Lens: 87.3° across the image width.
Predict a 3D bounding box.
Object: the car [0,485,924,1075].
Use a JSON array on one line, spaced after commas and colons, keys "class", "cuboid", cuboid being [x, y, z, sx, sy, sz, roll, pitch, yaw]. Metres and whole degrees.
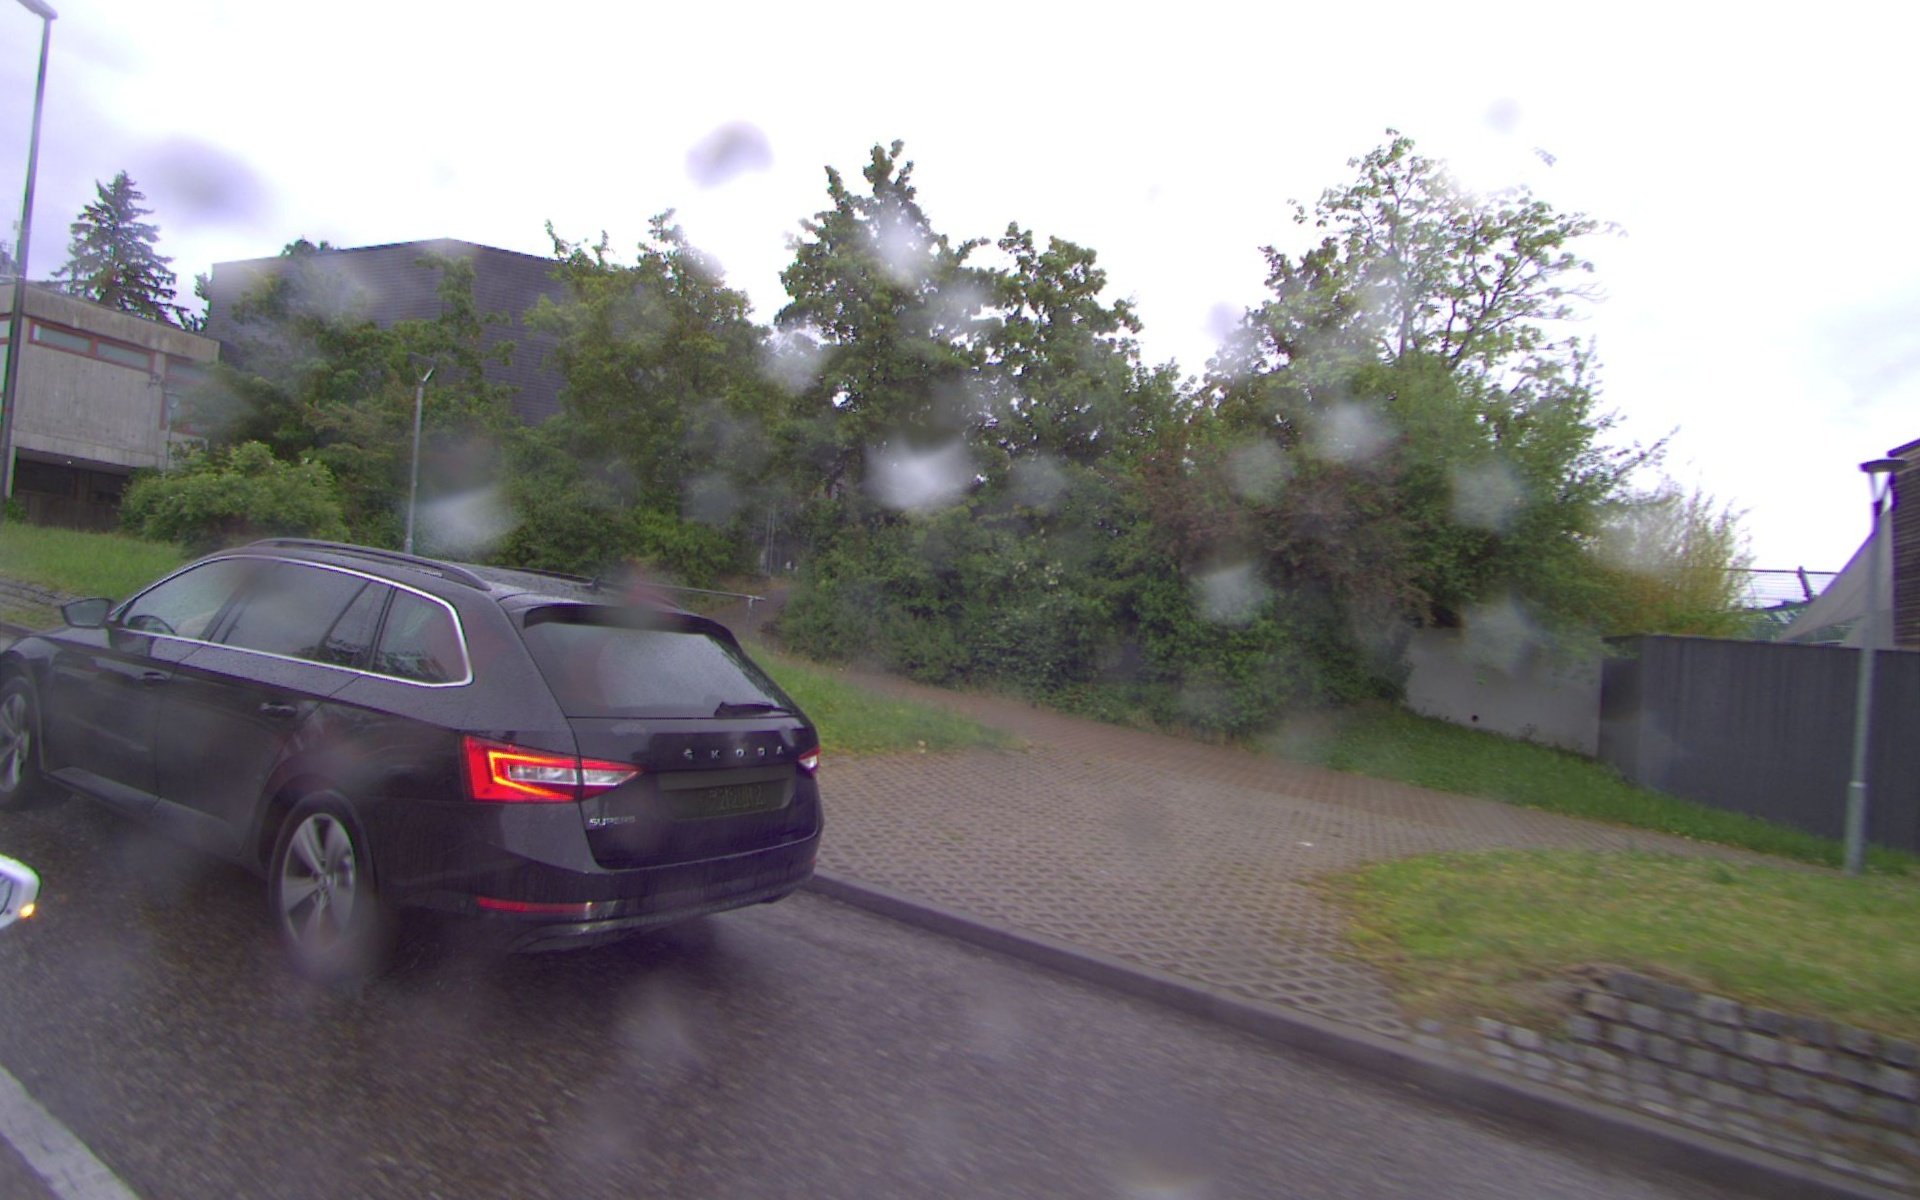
[{"class": "car", "cuboid": [-2.675, 0.478, 4.788, 4.531, 1.523, 1.960, 6, -4, 31]}]
